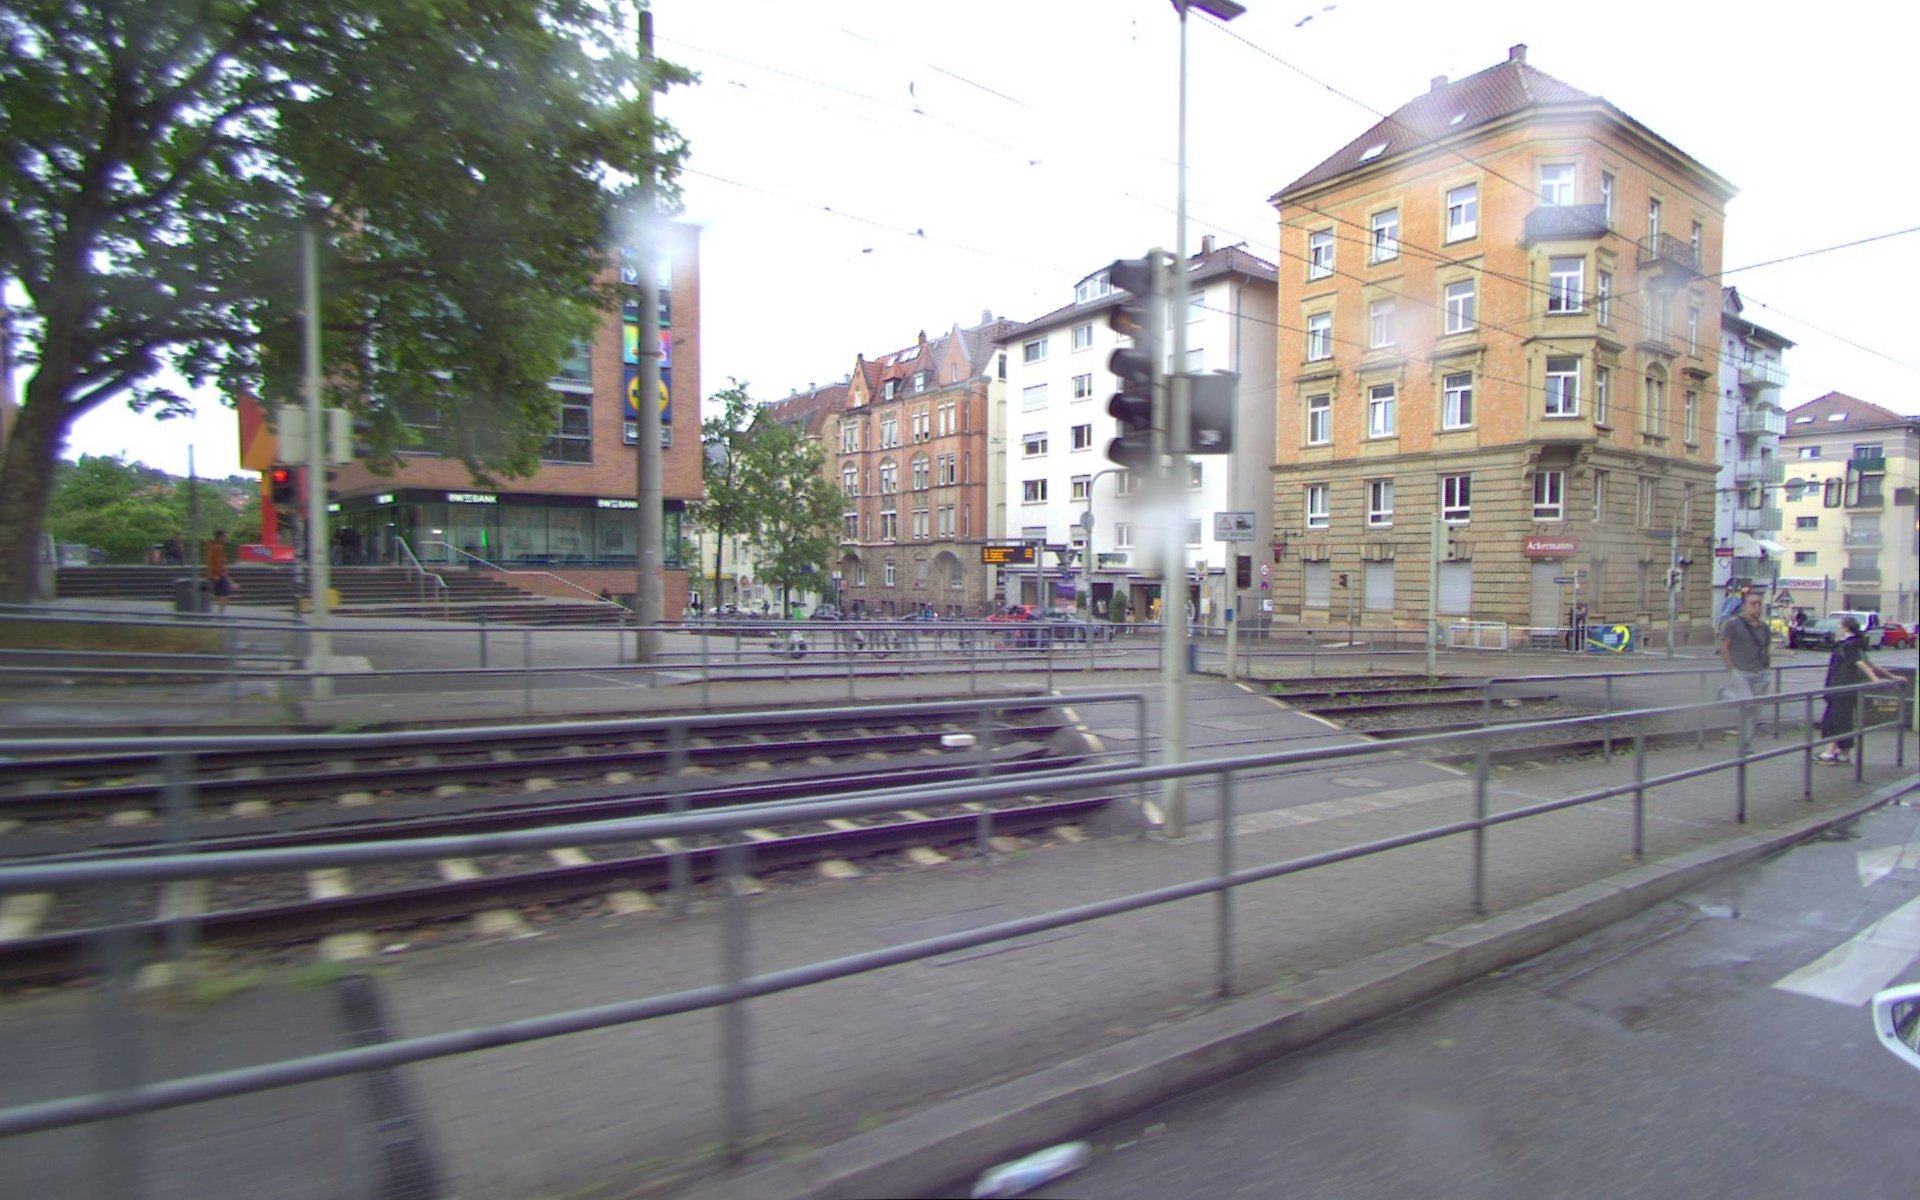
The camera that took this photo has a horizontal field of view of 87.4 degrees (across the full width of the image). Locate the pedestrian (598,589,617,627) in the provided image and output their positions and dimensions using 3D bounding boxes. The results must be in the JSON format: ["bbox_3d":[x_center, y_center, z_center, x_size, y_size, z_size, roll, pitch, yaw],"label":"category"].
[{"bbox_3d":[-14.806,0.327,42.180,0.587,1.587,0.514,1,1,-38],"label":"pedestrian"}]

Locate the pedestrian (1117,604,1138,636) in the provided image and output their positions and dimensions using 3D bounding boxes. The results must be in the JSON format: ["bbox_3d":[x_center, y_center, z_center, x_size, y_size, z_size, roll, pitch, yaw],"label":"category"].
[{"bbox_3d":[8.901,1.070,53.289,0.660,1.692,0.825,1,0,-32],"label":"pedestrian"}]

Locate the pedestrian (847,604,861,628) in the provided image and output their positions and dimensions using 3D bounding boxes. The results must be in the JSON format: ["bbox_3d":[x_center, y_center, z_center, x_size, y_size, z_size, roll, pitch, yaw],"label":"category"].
[{"bbox_3d":[-8.139,1.214,77.176,0.806,1.861,0.761,1,0,-37],"label":"pedestrian"}]

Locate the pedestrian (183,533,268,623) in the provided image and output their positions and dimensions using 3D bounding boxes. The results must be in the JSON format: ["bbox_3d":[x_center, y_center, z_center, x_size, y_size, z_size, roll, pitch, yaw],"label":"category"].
[{"bbox_3d":[-15.356,-0.446,21.029,1.049,1.767,0.793,5,0,-2],"label":"pedestrian"}]

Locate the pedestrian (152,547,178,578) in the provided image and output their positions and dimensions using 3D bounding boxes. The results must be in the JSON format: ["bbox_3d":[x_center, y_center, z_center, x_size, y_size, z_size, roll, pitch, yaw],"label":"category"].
[{"bbox_3d":[-41.191,-1.931,52.061,0.715,1.551,0.854,1,0,-11],"label":"pedestrian"}]

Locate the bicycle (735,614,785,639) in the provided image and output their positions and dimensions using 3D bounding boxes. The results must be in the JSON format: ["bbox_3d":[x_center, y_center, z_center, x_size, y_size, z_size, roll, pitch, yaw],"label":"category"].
[{"bbox_3d":[-9.498,1.254,47.786,2.351,1.116,0.691,1,1,-44],"label":"bicycle"}]

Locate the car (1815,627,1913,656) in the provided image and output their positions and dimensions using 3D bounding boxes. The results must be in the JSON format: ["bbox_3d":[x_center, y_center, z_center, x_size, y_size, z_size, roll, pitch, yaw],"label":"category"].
[{"bbox_3d":[50.248,2.303,55.860,3.905,1.453,1.785,2,0,-2],"label":"car"}]

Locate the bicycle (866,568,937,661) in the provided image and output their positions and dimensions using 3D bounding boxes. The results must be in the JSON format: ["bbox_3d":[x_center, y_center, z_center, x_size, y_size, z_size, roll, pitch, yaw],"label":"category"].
[{"bbox_3d":[-1.363,0.311,23.137,0.515,2.040,1.873,1,1,-42],"label":"bicycle"}]

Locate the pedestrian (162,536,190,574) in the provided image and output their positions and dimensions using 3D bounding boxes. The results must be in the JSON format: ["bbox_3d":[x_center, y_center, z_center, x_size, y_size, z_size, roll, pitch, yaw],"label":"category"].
[{"bbox_3d":[-33.744,-1.915,43.218,0.703,1.571,0.625,1,0,-8],"label":"pedestrian"}]

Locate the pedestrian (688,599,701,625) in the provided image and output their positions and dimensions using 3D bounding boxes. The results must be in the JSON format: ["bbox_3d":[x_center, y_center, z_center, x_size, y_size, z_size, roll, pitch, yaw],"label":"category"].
[{"bbox_3d":[-16.670,0.760,63.114,0.569,1.651,0.567,1,1,-37],"label":"pedestrian"}]

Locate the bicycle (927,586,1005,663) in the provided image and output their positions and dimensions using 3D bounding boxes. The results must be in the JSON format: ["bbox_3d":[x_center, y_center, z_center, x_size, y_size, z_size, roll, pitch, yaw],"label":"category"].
[{"bbox_3d":[0.133,0.569,24.514,0.553,1.720,2.071,3,1,-42],"label":"bicycle"}]

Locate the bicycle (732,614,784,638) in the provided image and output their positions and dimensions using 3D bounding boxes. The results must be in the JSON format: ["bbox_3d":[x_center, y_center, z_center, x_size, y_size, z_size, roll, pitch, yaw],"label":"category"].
[{"bbox_3d":[-9.816,1.246,48.798,2.342,1.116,0.844,1,0,-34],"label":"bicycle"}]

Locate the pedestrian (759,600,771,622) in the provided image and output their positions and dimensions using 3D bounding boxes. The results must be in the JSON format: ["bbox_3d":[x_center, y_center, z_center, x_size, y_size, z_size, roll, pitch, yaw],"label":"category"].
[{"bbox_3d":[-17.436,0.990,89.895,0.806,1.861,0.761,1,1,-37],"label":"pedestrian"}]

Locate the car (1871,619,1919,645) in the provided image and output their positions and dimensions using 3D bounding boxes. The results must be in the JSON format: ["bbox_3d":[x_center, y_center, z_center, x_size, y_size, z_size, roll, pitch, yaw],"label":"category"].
[{"bbox_3d":[55.400,1.873,59.190,4.032,1.471,1.643,2,0,-34],"label":"car"}]

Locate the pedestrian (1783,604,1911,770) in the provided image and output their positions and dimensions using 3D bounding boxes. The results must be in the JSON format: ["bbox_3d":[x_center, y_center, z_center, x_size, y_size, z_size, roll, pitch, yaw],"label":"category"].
[{"bbox_3d":[9.316,0.869,10.552,0.993,1.626,0.828,1,0,-38],"label":"pedestrian"}]

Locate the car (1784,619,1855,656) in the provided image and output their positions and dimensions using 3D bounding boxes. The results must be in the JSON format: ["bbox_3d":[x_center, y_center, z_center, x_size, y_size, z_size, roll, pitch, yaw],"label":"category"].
[{"bbox_3d":[41.874,1.804,48.893,4.323,1.673,1.720,1,0,-37],"label":"car"}]

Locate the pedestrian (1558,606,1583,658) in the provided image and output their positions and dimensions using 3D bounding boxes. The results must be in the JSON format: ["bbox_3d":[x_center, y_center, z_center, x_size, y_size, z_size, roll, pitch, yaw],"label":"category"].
[{"bbox_3d":[21.655,1.133,35.621,0.615,1.791,0.640,-1,2,18],"label":"pedestrian"}]

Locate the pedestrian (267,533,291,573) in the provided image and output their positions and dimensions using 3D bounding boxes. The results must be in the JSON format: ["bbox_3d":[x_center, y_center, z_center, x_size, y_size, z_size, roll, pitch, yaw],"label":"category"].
[{"bbox_3d":[-30.416,-2.098,44.861,0.639,1.753,0.725,1,0,41],"label":"pedestrian"}]

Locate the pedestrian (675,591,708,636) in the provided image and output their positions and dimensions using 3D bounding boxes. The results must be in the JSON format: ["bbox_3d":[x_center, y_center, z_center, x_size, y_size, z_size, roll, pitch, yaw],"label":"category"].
[{"bbox_3d":[-10.499,0.521,39.275,0.999,1.753,0.890,1,0,-36],"label":"pedestrian"}]

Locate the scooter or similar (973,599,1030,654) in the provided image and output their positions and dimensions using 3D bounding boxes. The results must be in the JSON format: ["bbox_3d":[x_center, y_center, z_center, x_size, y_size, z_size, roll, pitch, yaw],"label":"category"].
[{"bbox_3d":[1.082,0.690,26.598,1.483,1.389,0.451,2,1,38],"label":"scooter or similar"}]

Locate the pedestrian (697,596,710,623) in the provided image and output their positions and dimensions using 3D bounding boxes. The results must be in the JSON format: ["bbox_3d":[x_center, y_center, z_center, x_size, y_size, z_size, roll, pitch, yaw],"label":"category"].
[{"bbox_3d":[-16.277,0.611,63.820,0.594,1.651,0.567,1,1,-37],"label":"pedestrian"}]

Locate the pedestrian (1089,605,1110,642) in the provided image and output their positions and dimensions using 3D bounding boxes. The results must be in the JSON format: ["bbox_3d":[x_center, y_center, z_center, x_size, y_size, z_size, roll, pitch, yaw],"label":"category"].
[{"bbox_3d":[7.835,1.341,56.446,0.759,2.040,0.858,1,0,-31],"label":"pedestrian"}]

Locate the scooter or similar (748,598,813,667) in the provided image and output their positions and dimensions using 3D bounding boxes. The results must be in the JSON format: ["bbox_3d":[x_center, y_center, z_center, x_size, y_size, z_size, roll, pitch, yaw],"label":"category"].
[{"bbox_3d":[-3.827,0.674,21.355,1.483,1.389,0.451,2,1,38],"label":"scooter or similar"}]

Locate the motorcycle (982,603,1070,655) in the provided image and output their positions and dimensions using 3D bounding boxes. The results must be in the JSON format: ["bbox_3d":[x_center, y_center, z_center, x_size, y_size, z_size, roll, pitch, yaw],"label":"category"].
[{"bbox_3d":[1.856,0.805,28.575,0.860,1.389,2.626,2,-1,-42],"label":"motorcycle"}]

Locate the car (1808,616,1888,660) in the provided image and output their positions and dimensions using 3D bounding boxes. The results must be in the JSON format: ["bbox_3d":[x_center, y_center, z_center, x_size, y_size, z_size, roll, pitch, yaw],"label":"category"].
[{"bbox_3d":[46.678,1.968,52.770,5.252,2.036,2.055,1,3,-37],"label":"car"}]

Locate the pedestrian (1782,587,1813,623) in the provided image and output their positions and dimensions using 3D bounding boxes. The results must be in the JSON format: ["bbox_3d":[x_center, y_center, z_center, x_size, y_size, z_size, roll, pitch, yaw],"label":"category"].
[{"bbox_3d":[47.094,0.289,56.468,1.169,1.955,1.161,1,1,-42],"label":"pedestrian"}]

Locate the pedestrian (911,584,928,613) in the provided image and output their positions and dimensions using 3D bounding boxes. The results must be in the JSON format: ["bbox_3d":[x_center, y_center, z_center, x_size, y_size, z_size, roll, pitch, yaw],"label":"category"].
[{"bbox_3d":[-2.705,-0.089,67.013,0.806,1.861,0.761,1,1,-37],"label":"pedestrian"}]

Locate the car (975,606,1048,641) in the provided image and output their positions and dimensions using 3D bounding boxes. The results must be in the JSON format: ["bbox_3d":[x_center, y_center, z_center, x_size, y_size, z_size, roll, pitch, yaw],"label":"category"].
[{"bbox_3d":[2.623,1.187,51.973,1.621,1.603,3.957,1,1,-37],"label":"car"}]

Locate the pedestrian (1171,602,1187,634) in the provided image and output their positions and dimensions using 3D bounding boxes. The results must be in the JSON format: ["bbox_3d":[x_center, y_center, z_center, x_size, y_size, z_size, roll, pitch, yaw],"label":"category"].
[{"bbox_3d":[11.040,0.914,50.617,0.492,1.557,0.527,1,1,-32],"label":"pedestrian"}]

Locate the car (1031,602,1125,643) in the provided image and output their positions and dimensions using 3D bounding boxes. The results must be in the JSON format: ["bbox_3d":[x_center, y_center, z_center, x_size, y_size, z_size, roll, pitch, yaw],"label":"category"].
[{"bbox_3d":[5.019,0.963,43.202,1.824,1.687,3.959,1,-1,-36],"label":"car"}]

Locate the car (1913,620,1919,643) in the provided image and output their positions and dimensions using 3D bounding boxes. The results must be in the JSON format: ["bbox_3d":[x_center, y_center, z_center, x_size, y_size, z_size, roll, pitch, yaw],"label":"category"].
[{"bbox_3d":[62.704,2.042,64.419,4.581,1.414,1.667,2,0,-38],"label":"car"}]

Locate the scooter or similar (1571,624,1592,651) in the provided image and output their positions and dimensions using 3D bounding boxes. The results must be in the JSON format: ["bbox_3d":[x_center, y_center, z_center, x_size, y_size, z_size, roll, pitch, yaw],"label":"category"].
[{"bbox_3d":[22.485,1.351,36.358,0.545,0.957,0.578,1,0,23],"label":"scooter or similar"}]

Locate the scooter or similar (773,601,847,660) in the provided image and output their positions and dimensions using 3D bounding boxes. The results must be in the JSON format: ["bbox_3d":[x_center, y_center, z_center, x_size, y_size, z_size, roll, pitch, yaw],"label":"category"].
[{"bbox_3d":[-3.255,0.644,21.708,1.689,1.210,0.477,1,0,34],"label":"scooter or similar"}]

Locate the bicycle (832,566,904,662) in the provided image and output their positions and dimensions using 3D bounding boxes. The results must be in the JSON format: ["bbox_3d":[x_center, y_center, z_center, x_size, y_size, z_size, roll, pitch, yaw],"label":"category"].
[{"bbox_3d":[-2.072,0.288,22.441,0.515,2.040,1.873,1,1,-42],"label":"bicycle"}]

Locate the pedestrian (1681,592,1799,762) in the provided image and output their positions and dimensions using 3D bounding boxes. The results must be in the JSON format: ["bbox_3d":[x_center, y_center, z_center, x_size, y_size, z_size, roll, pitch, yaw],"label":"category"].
[{"bbox_3d":[8.872,0.839,11.426,0.993,1.822,0.819,1,0,-38],"label":"pedestrian"}]

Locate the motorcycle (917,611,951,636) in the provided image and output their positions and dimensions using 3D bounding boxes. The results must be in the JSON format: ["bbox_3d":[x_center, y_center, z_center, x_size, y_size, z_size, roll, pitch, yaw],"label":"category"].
[{"bbox_3d":[-1.348,1.196,51.305,0.858,1.174,1.833,1,0,-35],"label":"motorcycle"}]

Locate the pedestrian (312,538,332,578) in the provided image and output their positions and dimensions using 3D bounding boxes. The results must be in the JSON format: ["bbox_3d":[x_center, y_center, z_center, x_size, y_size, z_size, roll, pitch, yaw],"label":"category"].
[{"bbox_3d":[-28.110,-1.846,44.246,0.644,1.753,0.611,1,0,-43],"label":"pedestrian"}]

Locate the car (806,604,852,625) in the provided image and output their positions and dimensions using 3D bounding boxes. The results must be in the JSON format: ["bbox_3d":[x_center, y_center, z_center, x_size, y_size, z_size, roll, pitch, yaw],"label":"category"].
[{"bbox_3d":[-9.219,1.016,70.545,1.619,1.310,3.962,1,1,-33],"label":"car"}]

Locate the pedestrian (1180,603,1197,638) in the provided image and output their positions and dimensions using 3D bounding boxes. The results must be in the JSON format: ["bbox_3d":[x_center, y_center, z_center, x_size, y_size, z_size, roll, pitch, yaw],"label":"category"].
[{"bbox_3d":[11.320,1.026,49.751,0.588,1.690,0.598,1,0,-26],"label":"pedestrian"}]

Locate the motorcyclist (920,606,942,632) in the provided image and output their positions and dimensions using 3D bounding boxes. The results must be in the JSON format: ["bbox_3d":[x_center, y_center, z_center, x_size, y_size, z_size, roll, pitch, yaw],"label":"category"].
[{"bbox_3d":[-1.490,0.956,51.522,0.833,1.320,0.806,1,0,-35],"label":"motorcyclist"}]

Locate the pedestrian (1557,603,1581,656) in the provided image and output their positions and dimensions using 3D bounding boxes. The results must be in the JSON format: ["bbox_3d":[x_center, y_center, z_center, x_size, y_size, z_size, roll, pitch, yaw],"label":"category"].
[{"bbox_3d":[21.595,1.049,35.642,0.615,1.864,0.640,1,0,21],"label":"pedestrian"}]
